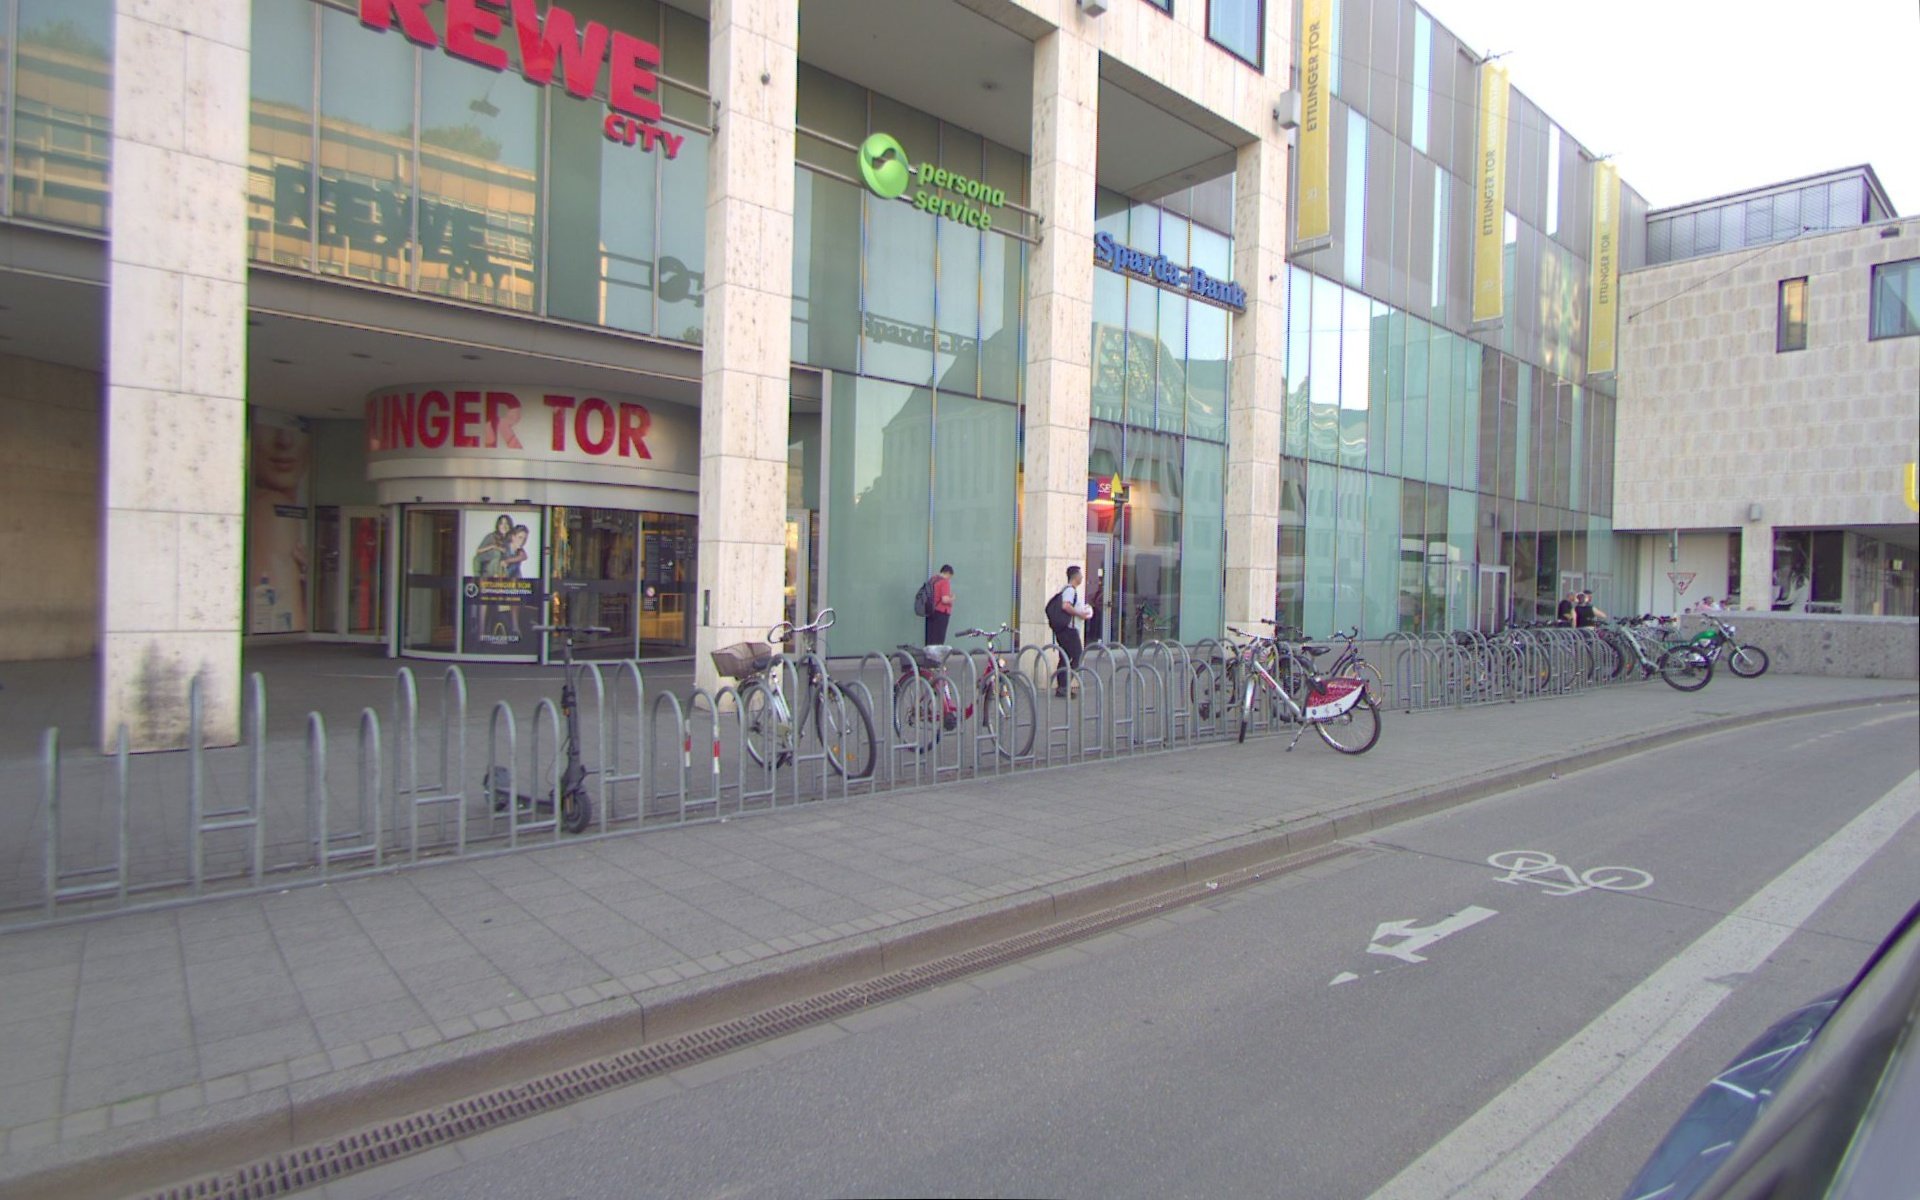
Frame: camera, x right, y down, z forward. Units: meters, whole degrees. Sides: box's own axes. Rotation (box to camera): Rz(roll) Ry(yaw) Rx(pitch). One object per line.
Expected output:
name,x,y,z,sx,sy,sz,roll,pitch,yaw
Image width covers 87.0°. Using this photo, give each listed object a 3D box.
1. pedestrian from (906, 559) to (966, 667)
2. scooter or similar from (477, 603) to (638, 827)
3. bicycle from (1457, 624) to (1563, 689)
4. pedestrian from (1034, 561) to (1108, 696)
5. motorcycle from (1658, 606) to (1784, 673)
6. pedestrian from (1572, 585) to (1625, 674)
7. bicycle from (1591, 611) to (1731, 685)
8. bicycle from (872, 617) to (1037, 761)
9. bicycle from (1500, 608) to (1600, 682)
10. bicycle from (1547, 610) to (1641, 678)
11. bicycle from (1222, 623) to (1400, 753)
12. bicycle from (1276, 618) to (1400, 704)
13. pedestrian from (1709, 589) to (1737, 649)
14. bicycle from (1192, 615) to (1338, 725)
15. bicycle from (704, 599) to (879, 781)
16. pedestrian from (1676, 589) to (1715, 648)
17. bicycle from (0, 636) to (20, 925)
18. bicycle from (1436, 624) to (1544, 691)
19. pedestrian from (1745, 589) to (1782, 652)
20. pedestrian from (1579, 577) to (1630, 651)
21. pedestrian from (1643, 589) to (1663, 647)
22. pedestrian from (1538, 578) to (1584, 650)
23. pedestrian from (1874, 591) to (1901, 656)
pedestrian,-0.383,0.199,16.204,0.695,1.672,0.629,1,1,-40
scooter or similar,-2.519,0.649,6.277,0.484,1.214,1.194,1,1,-44
bicycle,8.455,0.852,15.587,0.509,0.944,1.344,1,-2,-41
pedestrian,1.452,0.354,13.240,0.695,1.713,0.629,1,1,-40
motorcycle,15.579,0.787,20.767,0.472,1.239,2.004,1,1,-43
pedestrian,12.316,0.548,19.542,0.802,1.663,0.640,2,1,31
bicycle,11.566,0.771,16.746,0.458,1.161,1.837,1,-2,-39
bicycle,-0.075,0.711,8.672,0.543,1.120,1.516,1,-2,-43
bicycle,9.831,0.734,16.897,0.509,1.179,1.344,1,-2,-41
bicycle,11.394,0.767,18.221,0.509,1.179,1.344,1,-2,-41
bicycle,3.171,0.757,9.249,0.458,1.077,1.518,1,-2,-39
bicycle,5.013,0.778,13.452,1.439,1.078,0.572,-1,-2,39
pedestrian,23.011,0.575,30.510,0.644,1.765,0.494,1,1,-38
bicycle,3.379,0.739,11.312,0.569,1.138,1.519,1,-1,-36
bicycle,-1.307,0.623,7.669,0.607,1.243,1.517,1,-2,-41
pedestrian,22.664,0.566,31.174,0.644,1.765,0.794,1,1,-38
bicycle,-4.568,0.710,4.463,1.768,1.092,0.475,3,1,43
bicycle,7.945,0.840,15.208,0.509,0.944,1.344,1,-2,-41
pedestrian,23.317,0.590,29.368,0.797,1.802,0.619,1,1,-38
pedestrian,15.308,0.314,24.050,0.809,1.717,0.694,2,1,18
pedestrian,21.616,0.558,31.565,0.444,1.765,0.364,1,1,-38
pedestrian,14.426,0.321,24.311,0.812,1.668,0.734,2,1,25
pedestrian,25.532,0.647,27.857,0.483,1.765,0.455,1,1,-38
